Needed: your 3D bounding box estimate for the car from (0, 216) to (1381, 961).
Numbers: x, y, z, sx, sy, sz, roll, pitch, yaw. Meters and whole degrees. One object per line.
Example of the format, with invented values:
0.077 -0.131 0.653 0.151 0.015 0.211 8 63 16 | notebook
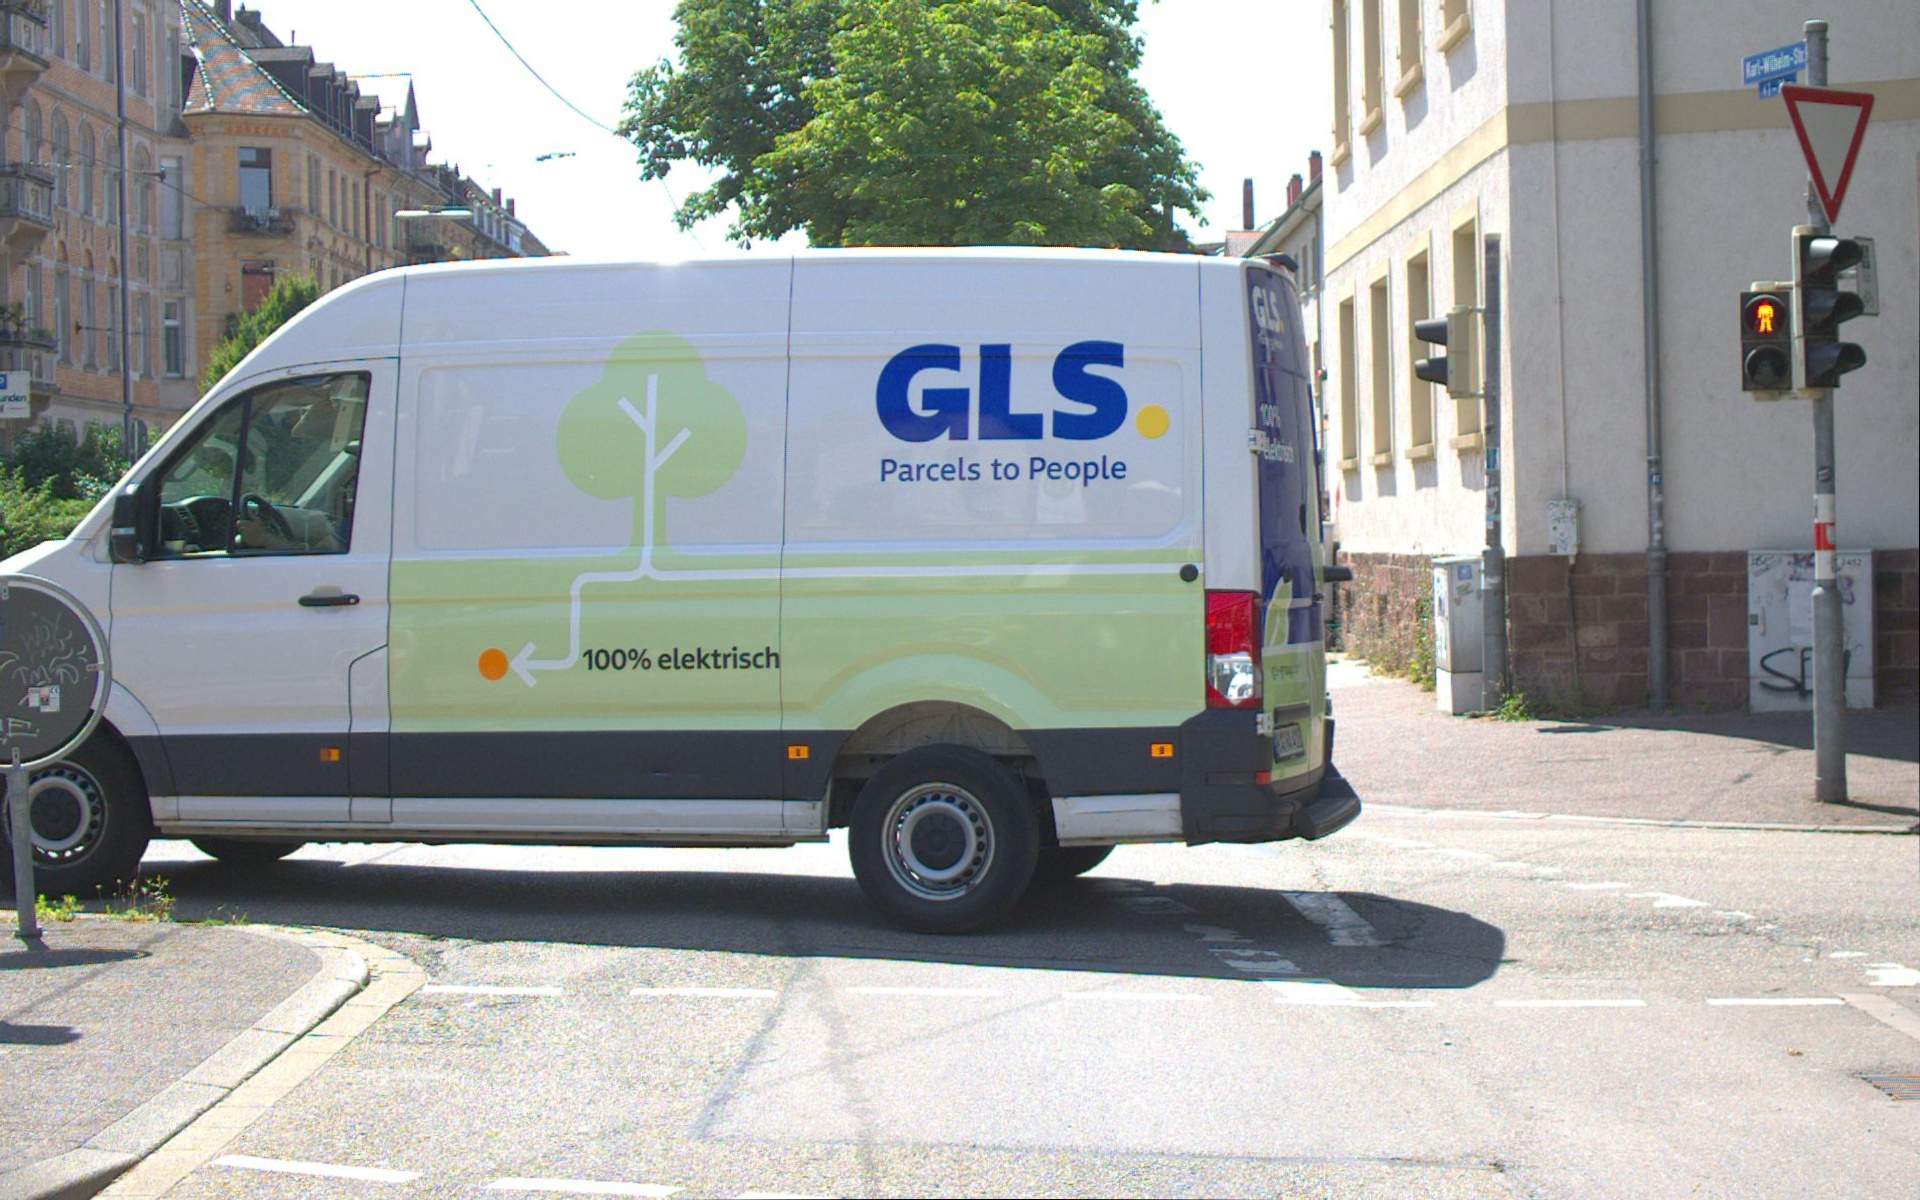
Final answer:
-1.332 -0.095 14.091 5.812 2.664 2.273 1 0 14 | car
